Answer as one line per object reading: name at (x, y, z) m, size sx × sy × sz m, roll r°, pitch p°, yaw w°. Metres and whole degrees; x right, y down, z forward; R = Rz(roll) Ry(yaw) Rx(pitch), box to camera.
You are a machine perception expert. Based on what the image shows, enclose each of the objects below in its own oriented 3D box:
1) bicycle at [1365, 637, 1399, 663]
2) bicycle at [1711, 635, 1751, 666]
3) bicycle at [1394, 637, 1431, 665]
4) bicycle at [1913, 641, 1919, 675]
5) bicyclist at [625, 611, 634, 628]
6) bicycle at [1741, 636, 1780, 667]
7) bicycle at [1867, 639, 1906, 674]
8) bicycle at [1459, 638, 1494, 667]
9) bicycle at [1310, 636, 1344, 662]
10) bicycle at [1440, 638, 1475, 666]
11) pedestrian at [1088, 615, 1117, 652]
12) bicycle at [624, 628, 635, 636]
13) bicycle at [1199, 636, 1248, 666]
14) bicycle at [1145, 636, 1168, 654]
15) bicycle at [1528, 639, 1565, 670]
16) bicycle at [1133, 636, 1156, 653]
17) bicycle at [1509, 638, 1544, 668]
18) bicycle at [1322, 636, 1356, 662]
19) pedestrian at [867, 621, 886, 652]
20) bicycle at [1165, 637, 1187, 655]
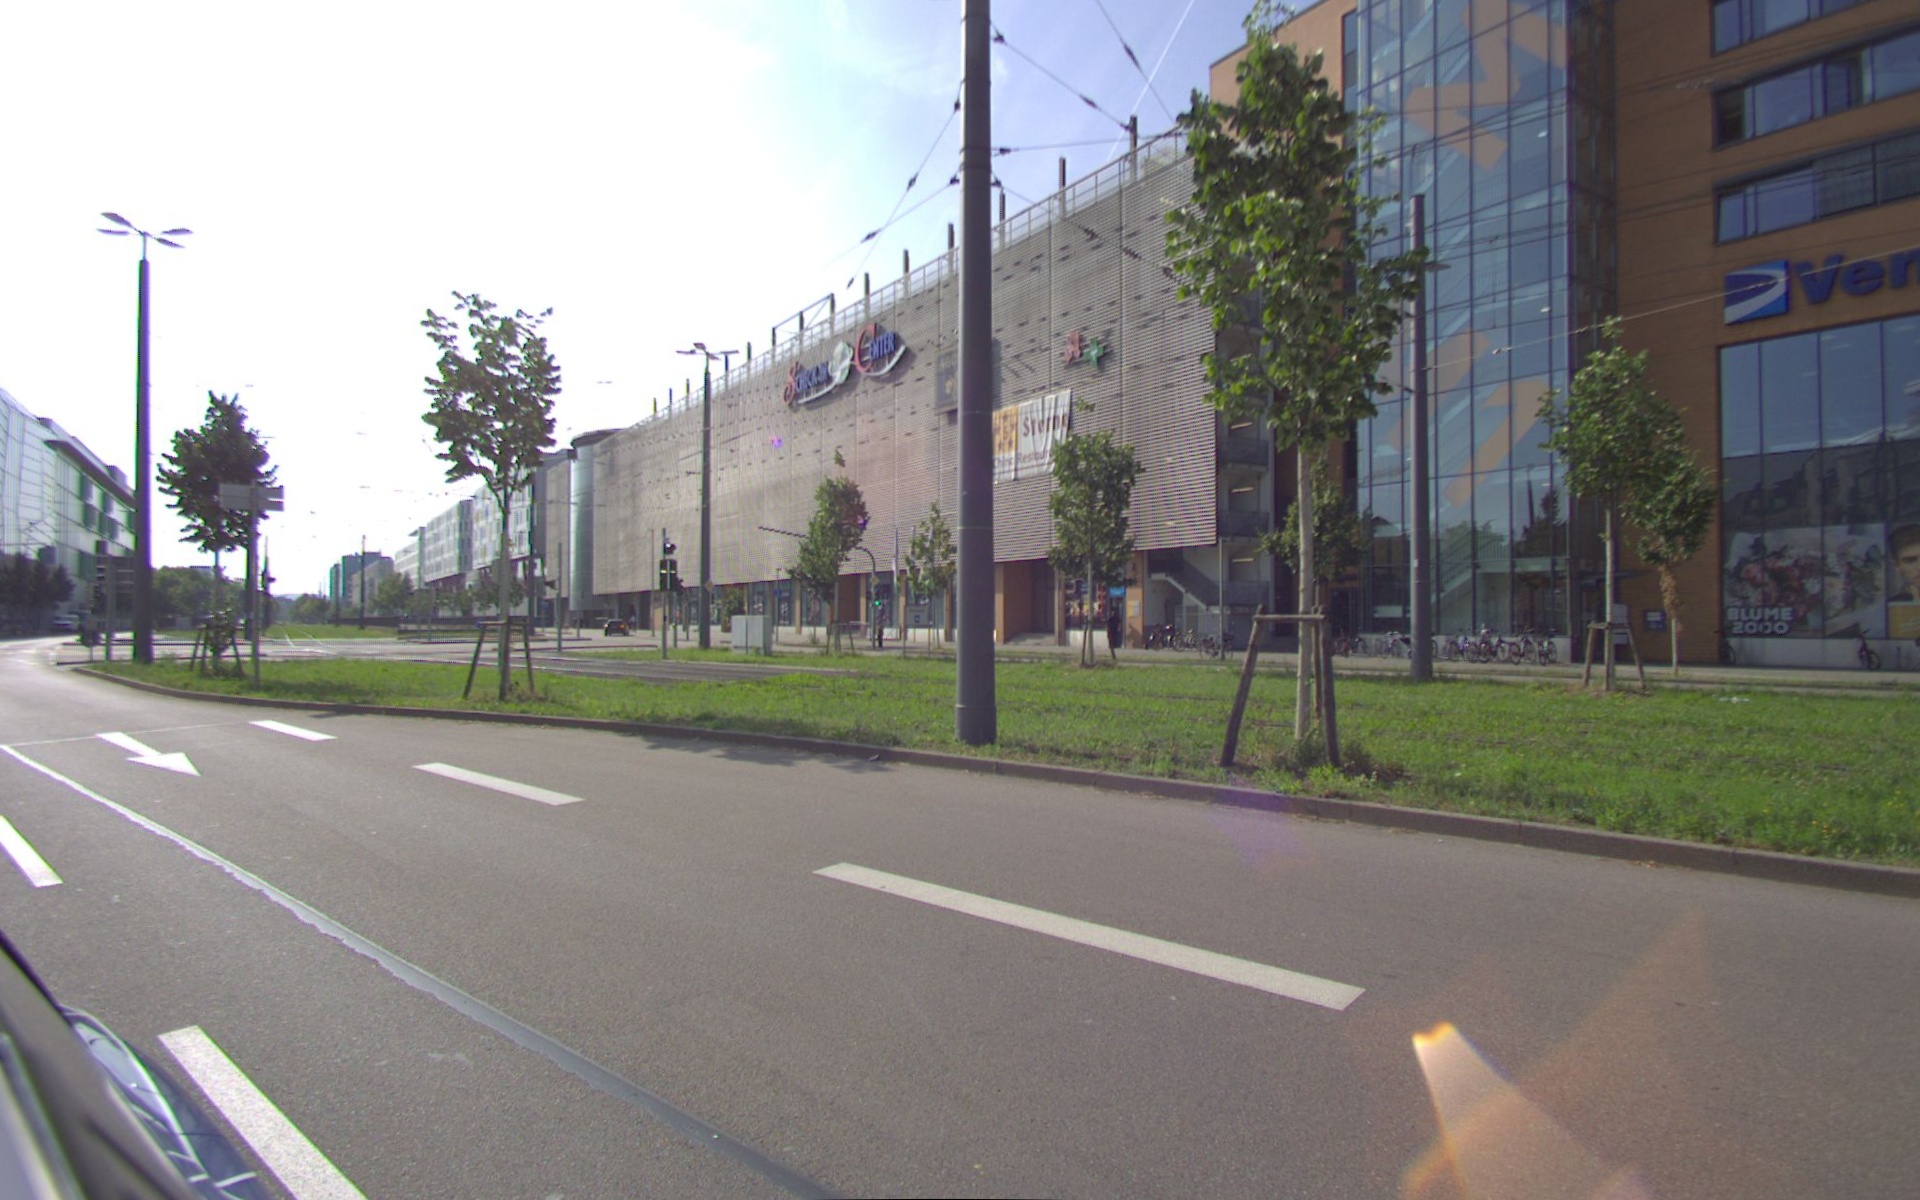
bicycle at (15.515, 1.828, 37.187) m, size 1.558 × 0.947 × 0.412 m, roll 1°, pitch -2°, yaw -36°
bicycle at (24.463, 1.589, 32.094) m, size 2.022 × 0.928 × 0.574 m, roll 1°, pitch -2°, yaw -40°
bicycle at (16.079, 1.814, 35.932) m, size 1.558 × 0.947 × 0.474 m, roll 1°, pitch -2°, yaw -36°
bicycle at (27.425, 1.615, 28.529) m, size 2.022 × 0.928 × 0.574 m, roll 1°, pitch -2°, yaw -40°
bicyclist at (-32.588, 1.912, 99.811) m, size 0.559 × 1.642 × 0.716 m, roll 1°, pitch -1°, yaw -36°
bicycle at (24.958, 1.596, 31.547) m, size 2.022 × 0.928 × 0.574 m, roll 1°, pitch -2°, yaw -40°
bicycle at (26.780, 1.618, 29.231) m, size 2.022 × 0.928 × 0.574 m, roll 1°, pitch -2°, yaw -40°
bicycle at (17.596, 1.786, 34.470) m, size 1.558 × 0.947 × 0.412 m, roll 1°, pitch -2°, yaw -36°
bicycle at (14.159, 1.882, 39.054) m, size 1.558 × 0.947 × 0.412 m, roll 1°, pitch -2°, yaw -36°
bicycle at (17.354, 1.793, 35.288) m, size 1.558 × 0.947 × 0.412 m, roll 1°, pitch -2°, yaw -36°
pedestrian at (6.879, 1.610, 48.901) m, size 0.806 × 1.732 × 1.179 m, roll 1°, pitch -2°, yaw -35°
bicycle at (-32.609, 3.155, 99.818) m, size 0.573 × 0.785 × 1.873 m, roll 1°, pitch -2°, yaw -35°
bicycle at (9.729, 1.863, 37.499) m, size 0.438 × 0.995 × 2.171 m, roll 1°, pitch 0°, yaw -26°
bicycle at (8.816, 2.010, 45.398) m, size 0.989 × 0.758 × 0.453 m, roll 1°, pitch -2°, yaw -34°
bicycle at (19.084, 1.764, 32.926) m, size 1.558 × 0.947 × 0.412 m, roll 1°, pitch -2°, yaw -36°
bicycle at (8.400, 2.005, 45.952) m, size 0.989 × 0.758 × 0.453 m, roll 1°, pitch -2°, yaw -34°
bicycle at (18.916, 1.769, 33.793) m, size 1.558 × 0.947 × 0.412 m, roll 1°, pitch -2°, yaw -36°
bicycle at (14.417, 1.841, 38.478) m, size 1.558 × 0.947 × 0.412 m, roll 1°, pitch -2°, yaw -36°
pedestrian at (-4.317, 1.900, 52.382) m, size 0.751 × 1.591 × 0.591 m, roll 1°, pitch -2°, yaw -39°
bicycle at (9.479, 2.008, 44.403) m, size 1.007 × 0.758 × 0.362 m, roll 1°, pitch -2°, yaw -34°
